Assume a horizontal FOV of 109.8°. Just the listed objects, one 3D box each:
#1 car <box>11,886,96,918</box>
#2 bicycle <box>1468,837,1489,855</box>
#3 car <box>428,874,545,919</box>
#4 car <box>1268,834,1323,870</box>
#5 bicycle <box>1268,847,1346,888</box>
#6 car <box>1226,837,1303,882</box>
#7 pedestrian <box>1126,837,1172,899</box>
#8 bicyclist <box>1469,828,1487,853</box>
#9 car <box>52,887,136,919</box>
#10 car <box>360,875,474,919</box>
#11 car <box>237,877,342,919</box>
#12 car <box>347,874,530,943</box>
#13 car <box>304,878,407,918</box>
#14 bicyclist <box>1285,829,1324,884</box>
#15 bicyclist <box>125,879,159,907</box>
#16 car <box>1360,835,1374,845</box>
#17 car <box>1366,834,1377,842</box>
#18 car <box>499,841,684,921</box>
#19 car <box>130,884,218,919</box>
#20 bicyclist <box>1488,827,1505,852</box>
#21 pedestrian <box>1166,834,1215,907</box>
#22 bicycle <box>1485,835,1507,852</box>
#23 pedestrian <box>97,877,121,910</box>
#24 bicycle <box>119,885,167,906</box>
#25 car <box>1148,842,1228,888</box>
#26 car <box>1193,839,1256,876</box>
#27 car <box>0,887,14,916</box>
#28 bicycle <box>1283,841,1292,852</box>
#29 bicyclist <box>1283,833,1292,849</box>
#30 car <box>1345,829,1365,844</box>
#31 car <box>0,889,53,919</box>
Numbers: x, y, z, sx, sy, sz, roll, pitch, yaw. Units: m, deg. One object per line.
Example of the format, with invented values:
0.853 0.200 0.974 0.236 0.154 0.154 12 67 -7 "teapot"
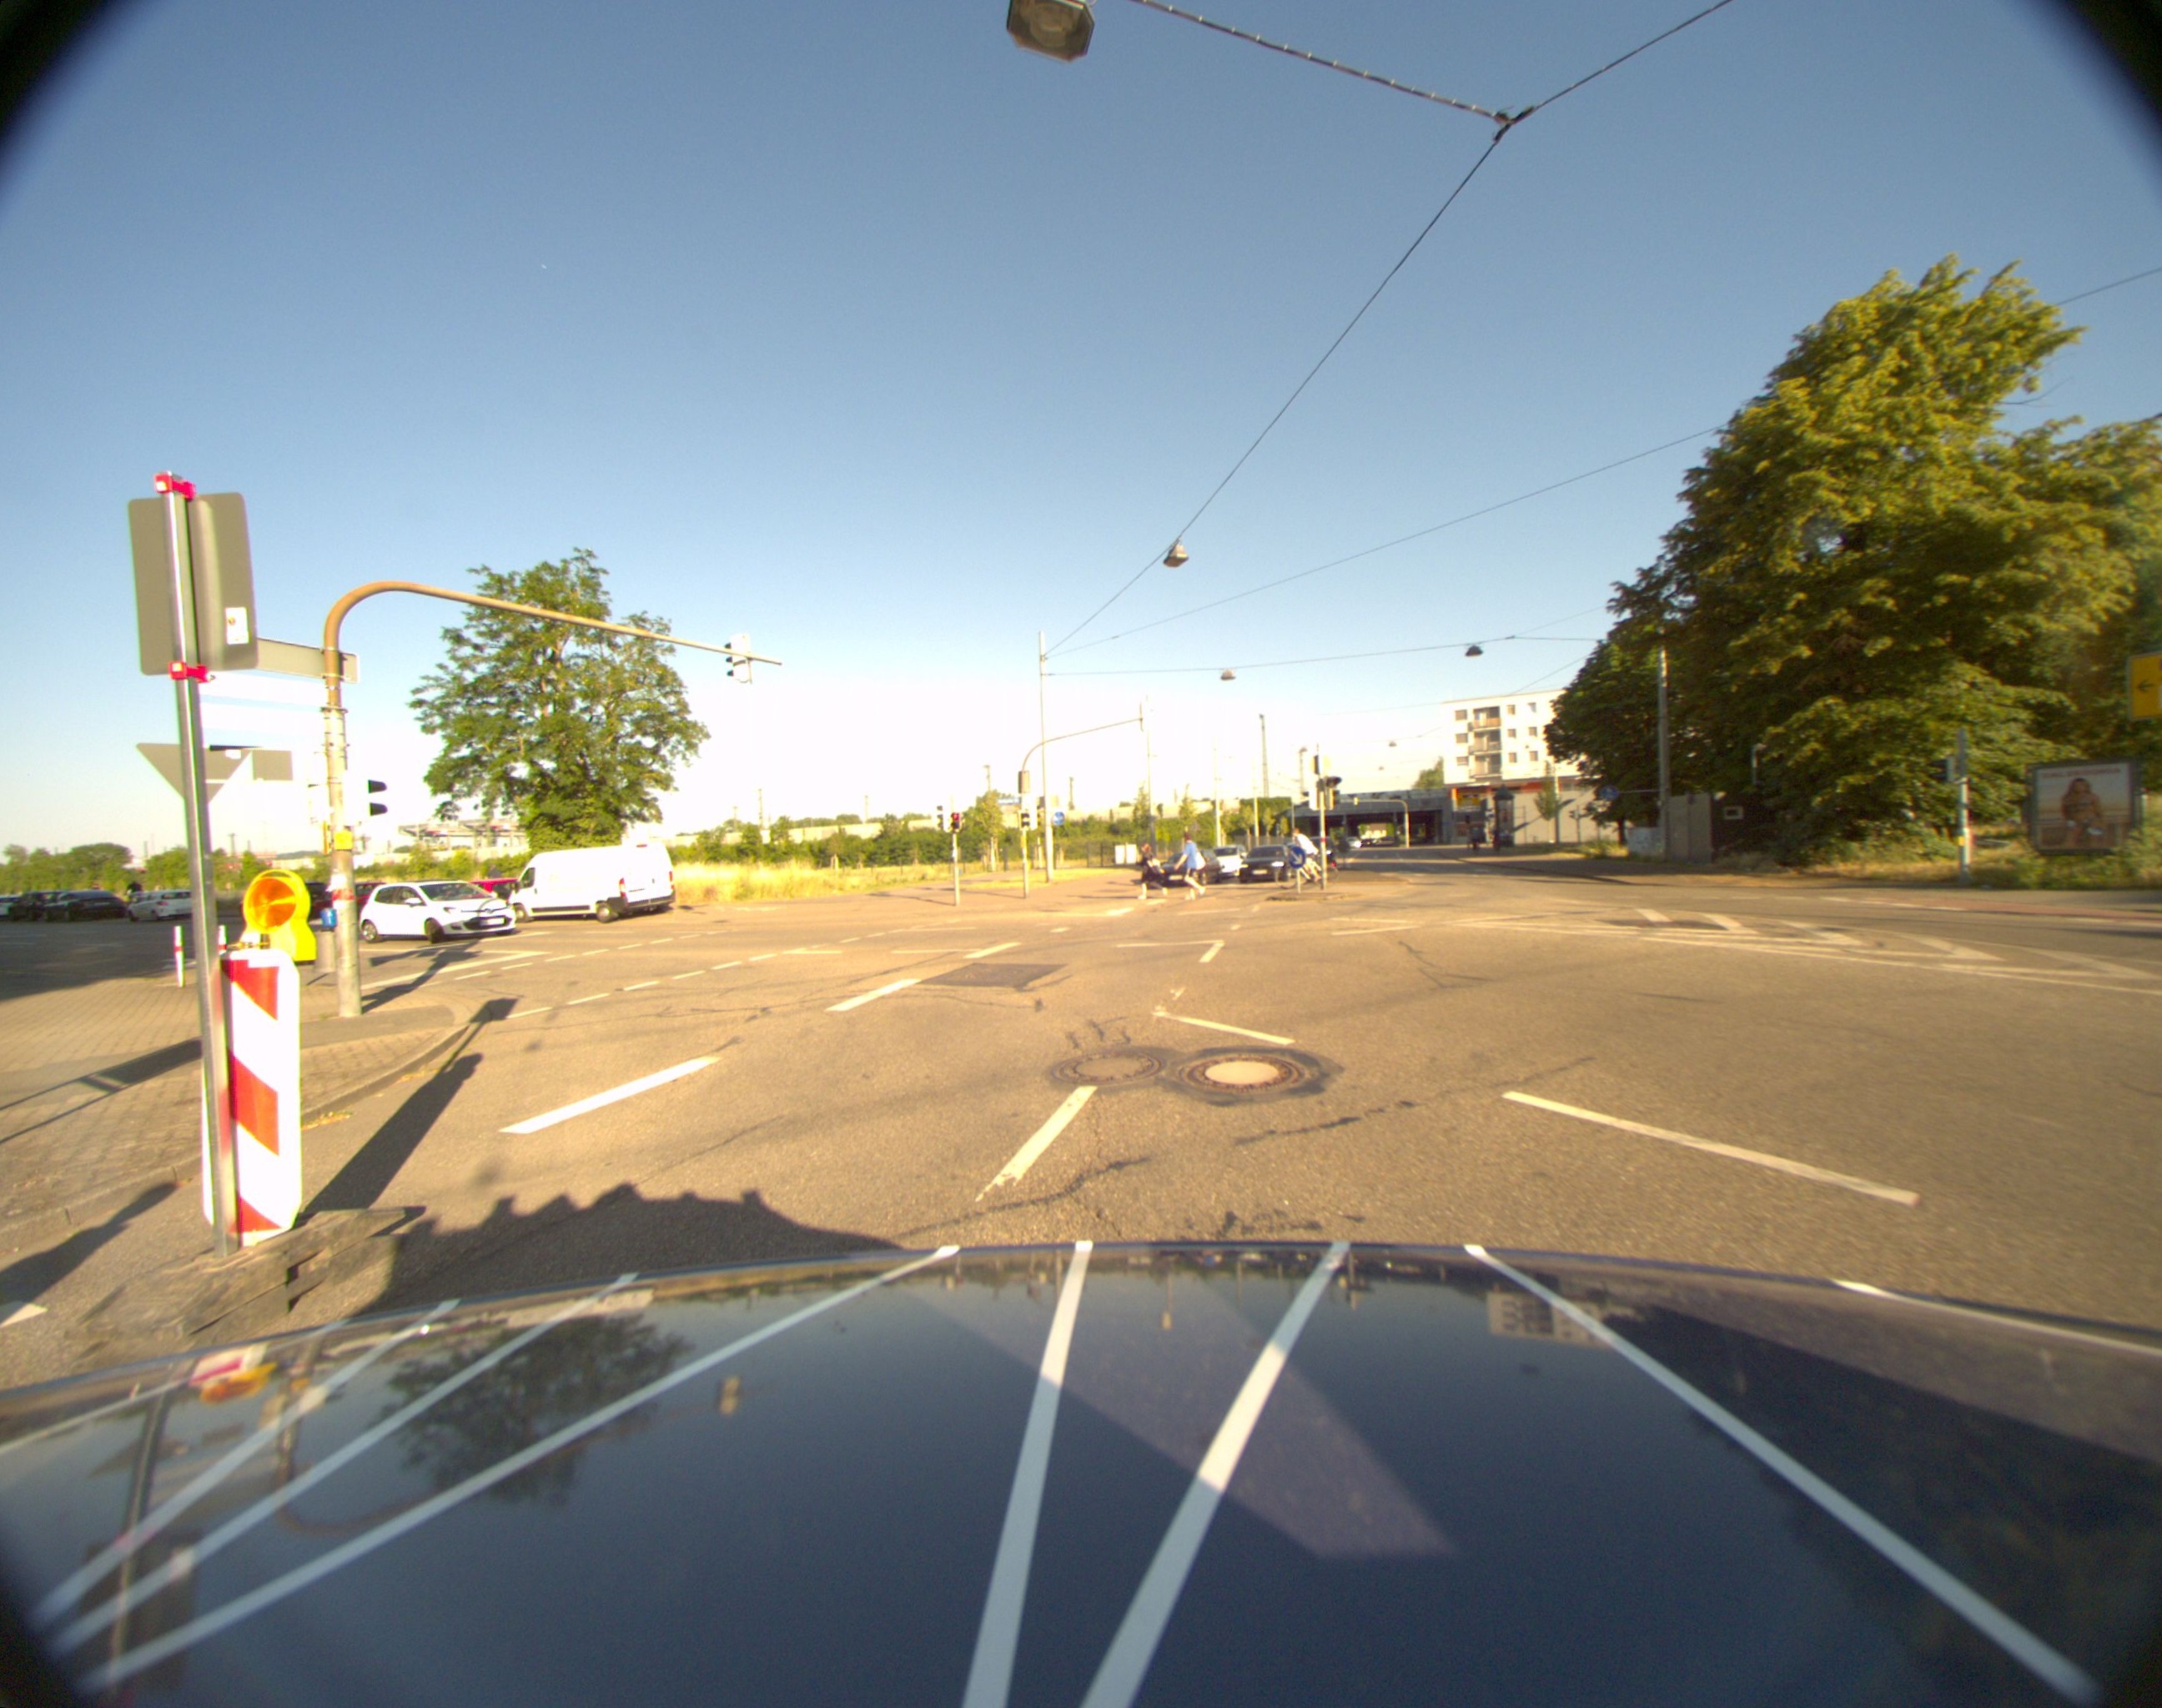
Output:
-58.245 2.709 43.064 4.210 1.628 1.828 -2 1 23 "car"
25.005 -0.509 47.836 0.662 1.063 2.021 -2 1 13 "bicycle"
-22.448 1.606 28.700 3.686 1.478 1.749 -2 1 21 "car"
10.657 -0.124 37.530 1.995 1.558 4.462 -2 1 24 "car"
6.841 0.409 23.123 2.197 1.136 0.701 -2 1 13 "bicycle"
7.324 0.176 30.024 2.049 1.558 4.457 -2 1 25 "car"
2.015 0.403 22.354 1.065 1.737 0.916 -2 1 22 "pedestrian"
25.010 -0.871 47.877 0.697 1.523 1.038 -2 1 13 "bicyclist"
-53.021 2.613 40.798 4.279 1.517 1.828 -2 1 26 "car"
-26.490 1.713 30.335 3.808 1.521 1.749 -2 1 21 "car"
-34.843 1.939 33.459 3.997 1.650 1.667 -2 1 21 "car"
-15.685 1.321 18.577 3.767 1.460 1.708 -2 1 20 "car"
-30.484 1.849 31.945 3.571 1.521 1.667 -2 1 21 "car"
6.791 0.081 23.102 1.040 1.620 0.714 -2 1 13 "bicyclist"
-55.740 2.322 45.099 1.143 1.587 0.868 -2 2 19 "bicyclist"
48.545 -2.383 129.018 1.995 1.694 4.005 -2 1 24 "car"
63.345 -3.466 165.664 1.995 1.694 4.006 -2 1 24 "car"
-16.814 0.934 26.126 5.549 2.424 2.238 -2 4 20 "car"
-44.742 2.350 37.497 3.575 1.517 1.710 -2 1 22 "car"
26.035 -0.894 47.628 0.659 1.523 1.038 -2 1 13 "bicyclist"
3.018 0.442 20.826 1.065 1.914 0.916 -2 1 22 "pedestrian"
26.091 -0.679 47.790 0.662 1.063 2.021 -2 1 13 "bicycle"
-59.494 2.406 46.495 0.729 2.002 0.616 -2 2 19 "pedestrian"
-55.760 2.456 45.169 2.477 1.182 0.941 -2 1 19 "bicycle"
4.347 0.397 30.292 1.995 1.558 4.281 -3 1 24 "car"
6.947 0.133 36.439 1.995 1.558 4.281 -2 1 24 "car"
-68.714 3.022 47.185 4.210 1.766 1.895 -2 1 23 "car"
20.988 -0.745 77.274 0.662 1.063 2.022 -2 1 22 "bicycle"
20.987 -1.300 77.283 0.775 1.596 0.858 -1 1 21 "bicyclist"
33.433 -2.129 92.775 1.995 1.694 4.006 -2 1 23 "car"
-63.268 2.963 44.976 4.210 1.565 1.828 -2 1 23 "car"
